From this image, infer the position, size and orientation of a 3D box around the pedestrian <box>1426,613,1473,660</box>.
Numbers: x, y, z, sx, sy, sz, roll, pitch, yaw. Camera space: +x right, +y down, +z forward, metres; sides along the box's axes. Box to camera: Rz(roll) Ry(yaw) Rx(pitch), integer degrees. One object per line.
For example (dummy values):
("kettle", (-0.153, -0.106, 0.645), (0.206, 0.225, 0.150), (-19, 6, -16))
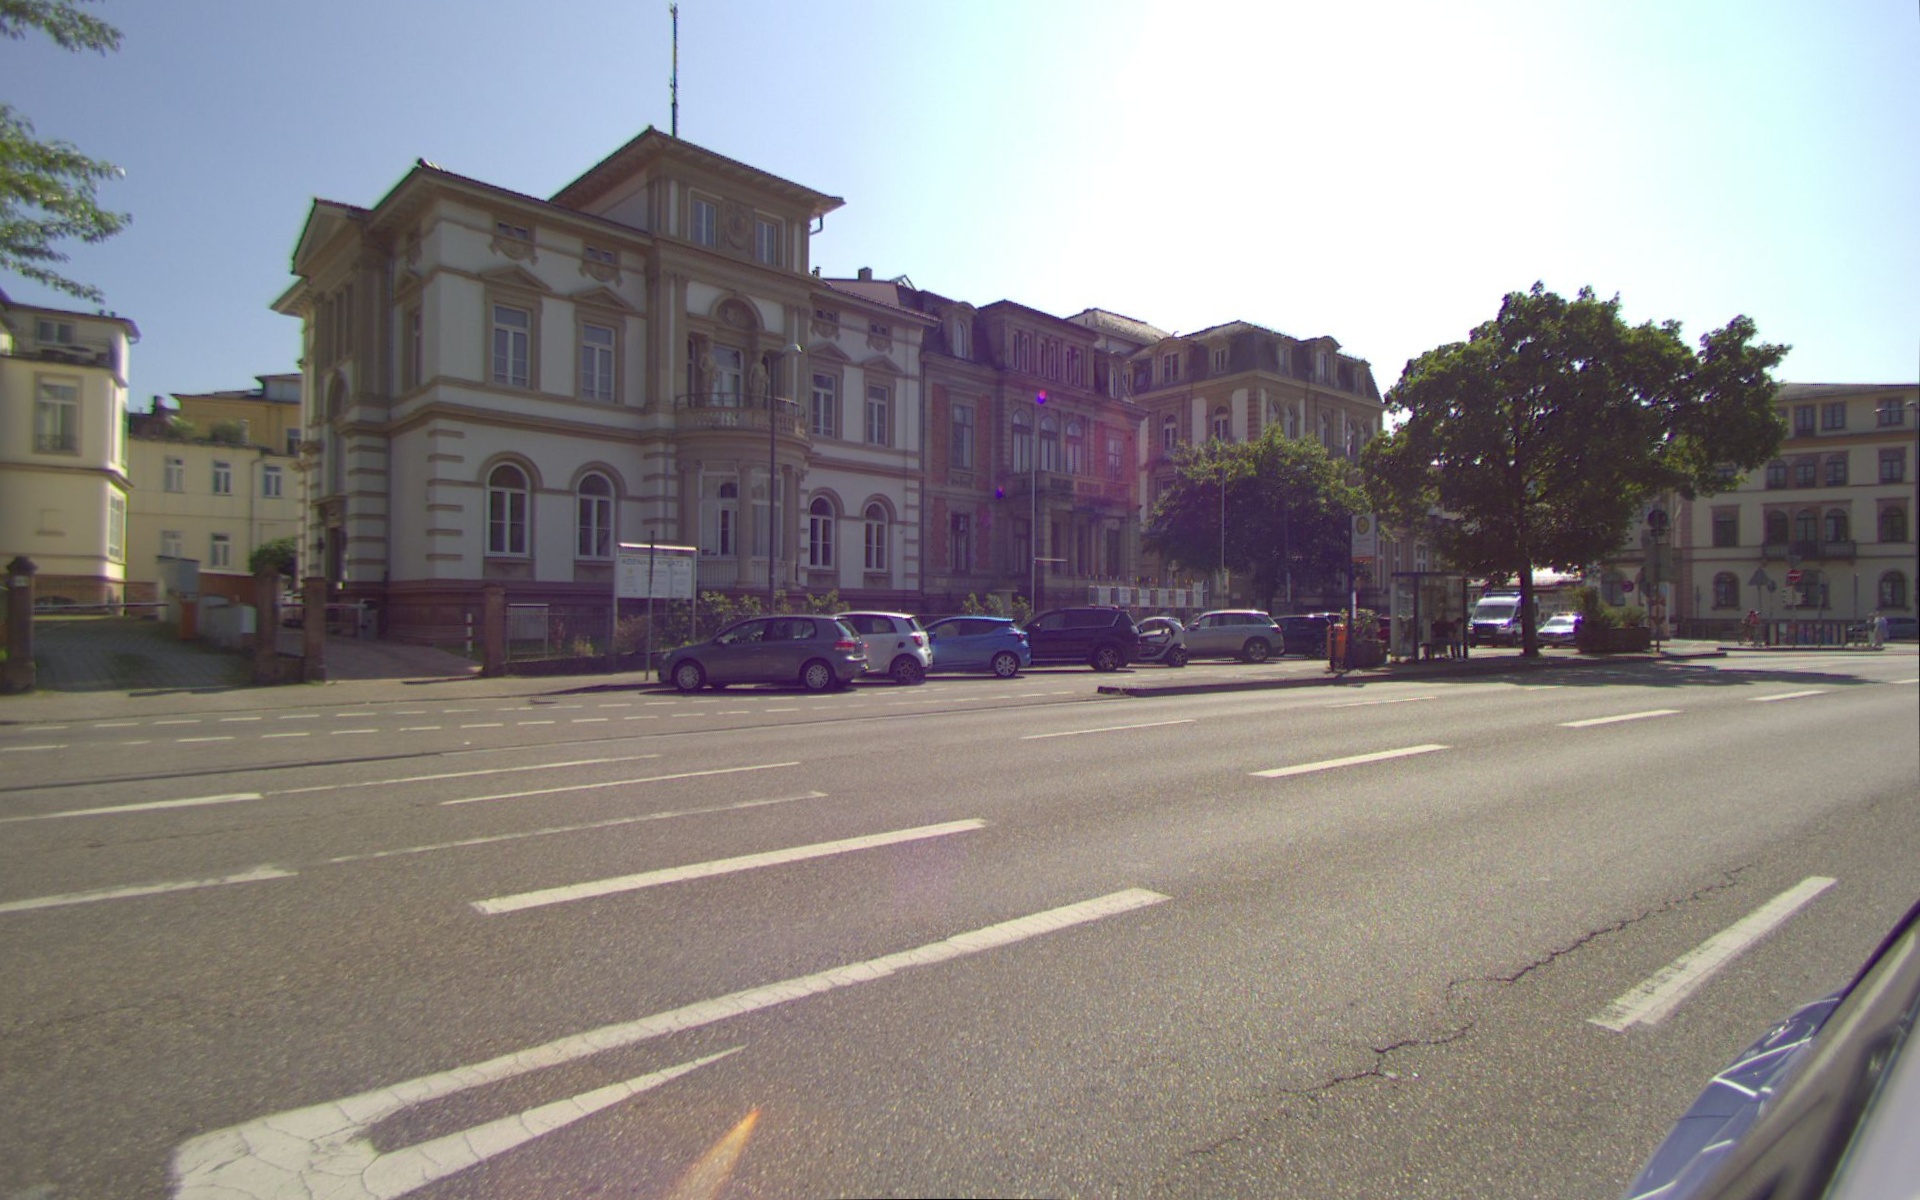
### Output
("pedestrian", (12.896, 0.943, 26.665), (1.014, 1.213, 0.782), (-1, -1, 33))

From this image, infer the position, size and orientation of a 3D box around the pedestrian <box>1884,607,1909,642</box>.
("pedestrian", (45.647, 1.185, 49.329), (0.814, 1.681, 0.753), (1, -1, -37))

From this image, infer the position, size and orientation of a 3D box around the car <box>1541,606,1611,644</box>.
("car", (28.468, 1.132, 46.723), (1.816, 1.647, 4.803), (-1, -1, 43))

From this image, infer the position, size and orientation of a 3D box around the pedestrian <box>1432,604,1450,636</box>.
("pedestrian", (26.231, 1.090, 55.186), (0.699, 1.774, 0.710), (-1, -2, 44))

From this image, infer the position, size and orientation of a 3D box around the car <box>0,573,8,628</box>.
("car", (-26.885, 0.012, 26.954), (1.831, 1.528, 4.059), (1, 0, -38))

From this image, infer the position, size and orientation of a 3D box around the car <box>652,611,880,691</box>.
("car", (-3.739, 0.960, 19.878), (4.038, 1.480, 1.823), (0, -1, 8))

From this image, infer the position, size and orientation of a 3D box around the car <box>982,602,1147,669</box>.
("car", (2.679, 0.927, 26.795), (4.194, 1.718, 1.713), (0, -1, 1))

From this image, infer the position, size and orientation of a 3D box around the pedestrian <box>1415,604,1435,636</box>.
("pedestrian", (25.621, 1.092, 55.811), (0.818, 1.762, 0.739), (-1, -2, 42))

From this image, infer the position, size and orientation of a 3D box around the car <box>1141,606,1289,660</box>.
("car", (7.958, 1.031, 31.911), (4.238, 1.650, 1.712), (0, -1, 4))

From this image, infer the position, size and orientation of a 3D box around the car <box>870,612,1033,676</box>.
("car", (-0.183, 1.025, 24.113), (3.740, 1.460, 1.713), (0, -1, 1))

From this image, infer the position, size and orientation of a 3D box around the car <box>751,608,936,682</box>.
("car", (-2.469, 0.958, 22.009), (3.743, 1.531, 1.711), (0, -1, 4))

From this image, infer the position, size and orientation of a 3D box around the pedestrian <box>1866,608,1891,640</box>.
("pedestrian", (45.858, 1.176, 50.534), (0.814, 1.592, 0.773), (1, -1, -35))

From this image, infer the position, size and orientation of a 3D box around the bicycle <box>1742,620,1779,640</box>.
("bicycle", (36.369, 1.359, 45.963), (1.708, 0.866, 0.594), (0, -1, -25))

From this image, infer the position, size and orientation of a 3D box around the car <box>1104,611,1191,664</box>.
("car", (5.439, 1.071, 29.469), (2.244, 1.502, 1.202), (0, -1, -2))

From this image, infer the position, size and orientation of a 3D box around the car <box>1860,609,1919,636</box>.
("car", (53.683, 1.285, 57.220), (3.947, 1.470, 1.770), (1, 1, 35))

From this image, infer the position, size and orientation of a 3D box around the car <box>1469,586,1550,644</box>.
("car", (26.200, 0.715, 48.168), (1.994, 2.637, 5.232), (-1, -2, 44))

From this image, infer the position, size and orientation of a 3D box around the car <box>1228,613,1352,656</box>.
("car", (11.158, 1.158, 34.404), (3.756, 1.435, 1.602), (0, -1, 8))

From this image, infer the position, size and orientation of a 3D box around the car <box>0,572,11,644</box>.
("car", (-18.655, 0.148, 18.181), (1.955, 1.353, 4.050), (0, 0, -38))

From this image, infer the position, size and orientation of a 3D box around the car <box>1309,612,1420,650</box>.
("car", (15.596, 1.181, 39.167), (3.638, 1.436, 1.745), (0, -1, 8))

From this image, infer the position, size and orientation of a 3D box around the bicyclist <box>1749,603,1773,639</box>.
("bicyclist", (36.374, 0.966, 45.971), (0.670, 1.627, 0.594), (1, -1, -26))

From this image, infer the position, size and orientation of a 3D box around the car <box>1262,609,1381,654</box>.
("car", (13.208, 1.135, 37.199), (3.812, 1.595, 1.746), (0, -1, 8))
